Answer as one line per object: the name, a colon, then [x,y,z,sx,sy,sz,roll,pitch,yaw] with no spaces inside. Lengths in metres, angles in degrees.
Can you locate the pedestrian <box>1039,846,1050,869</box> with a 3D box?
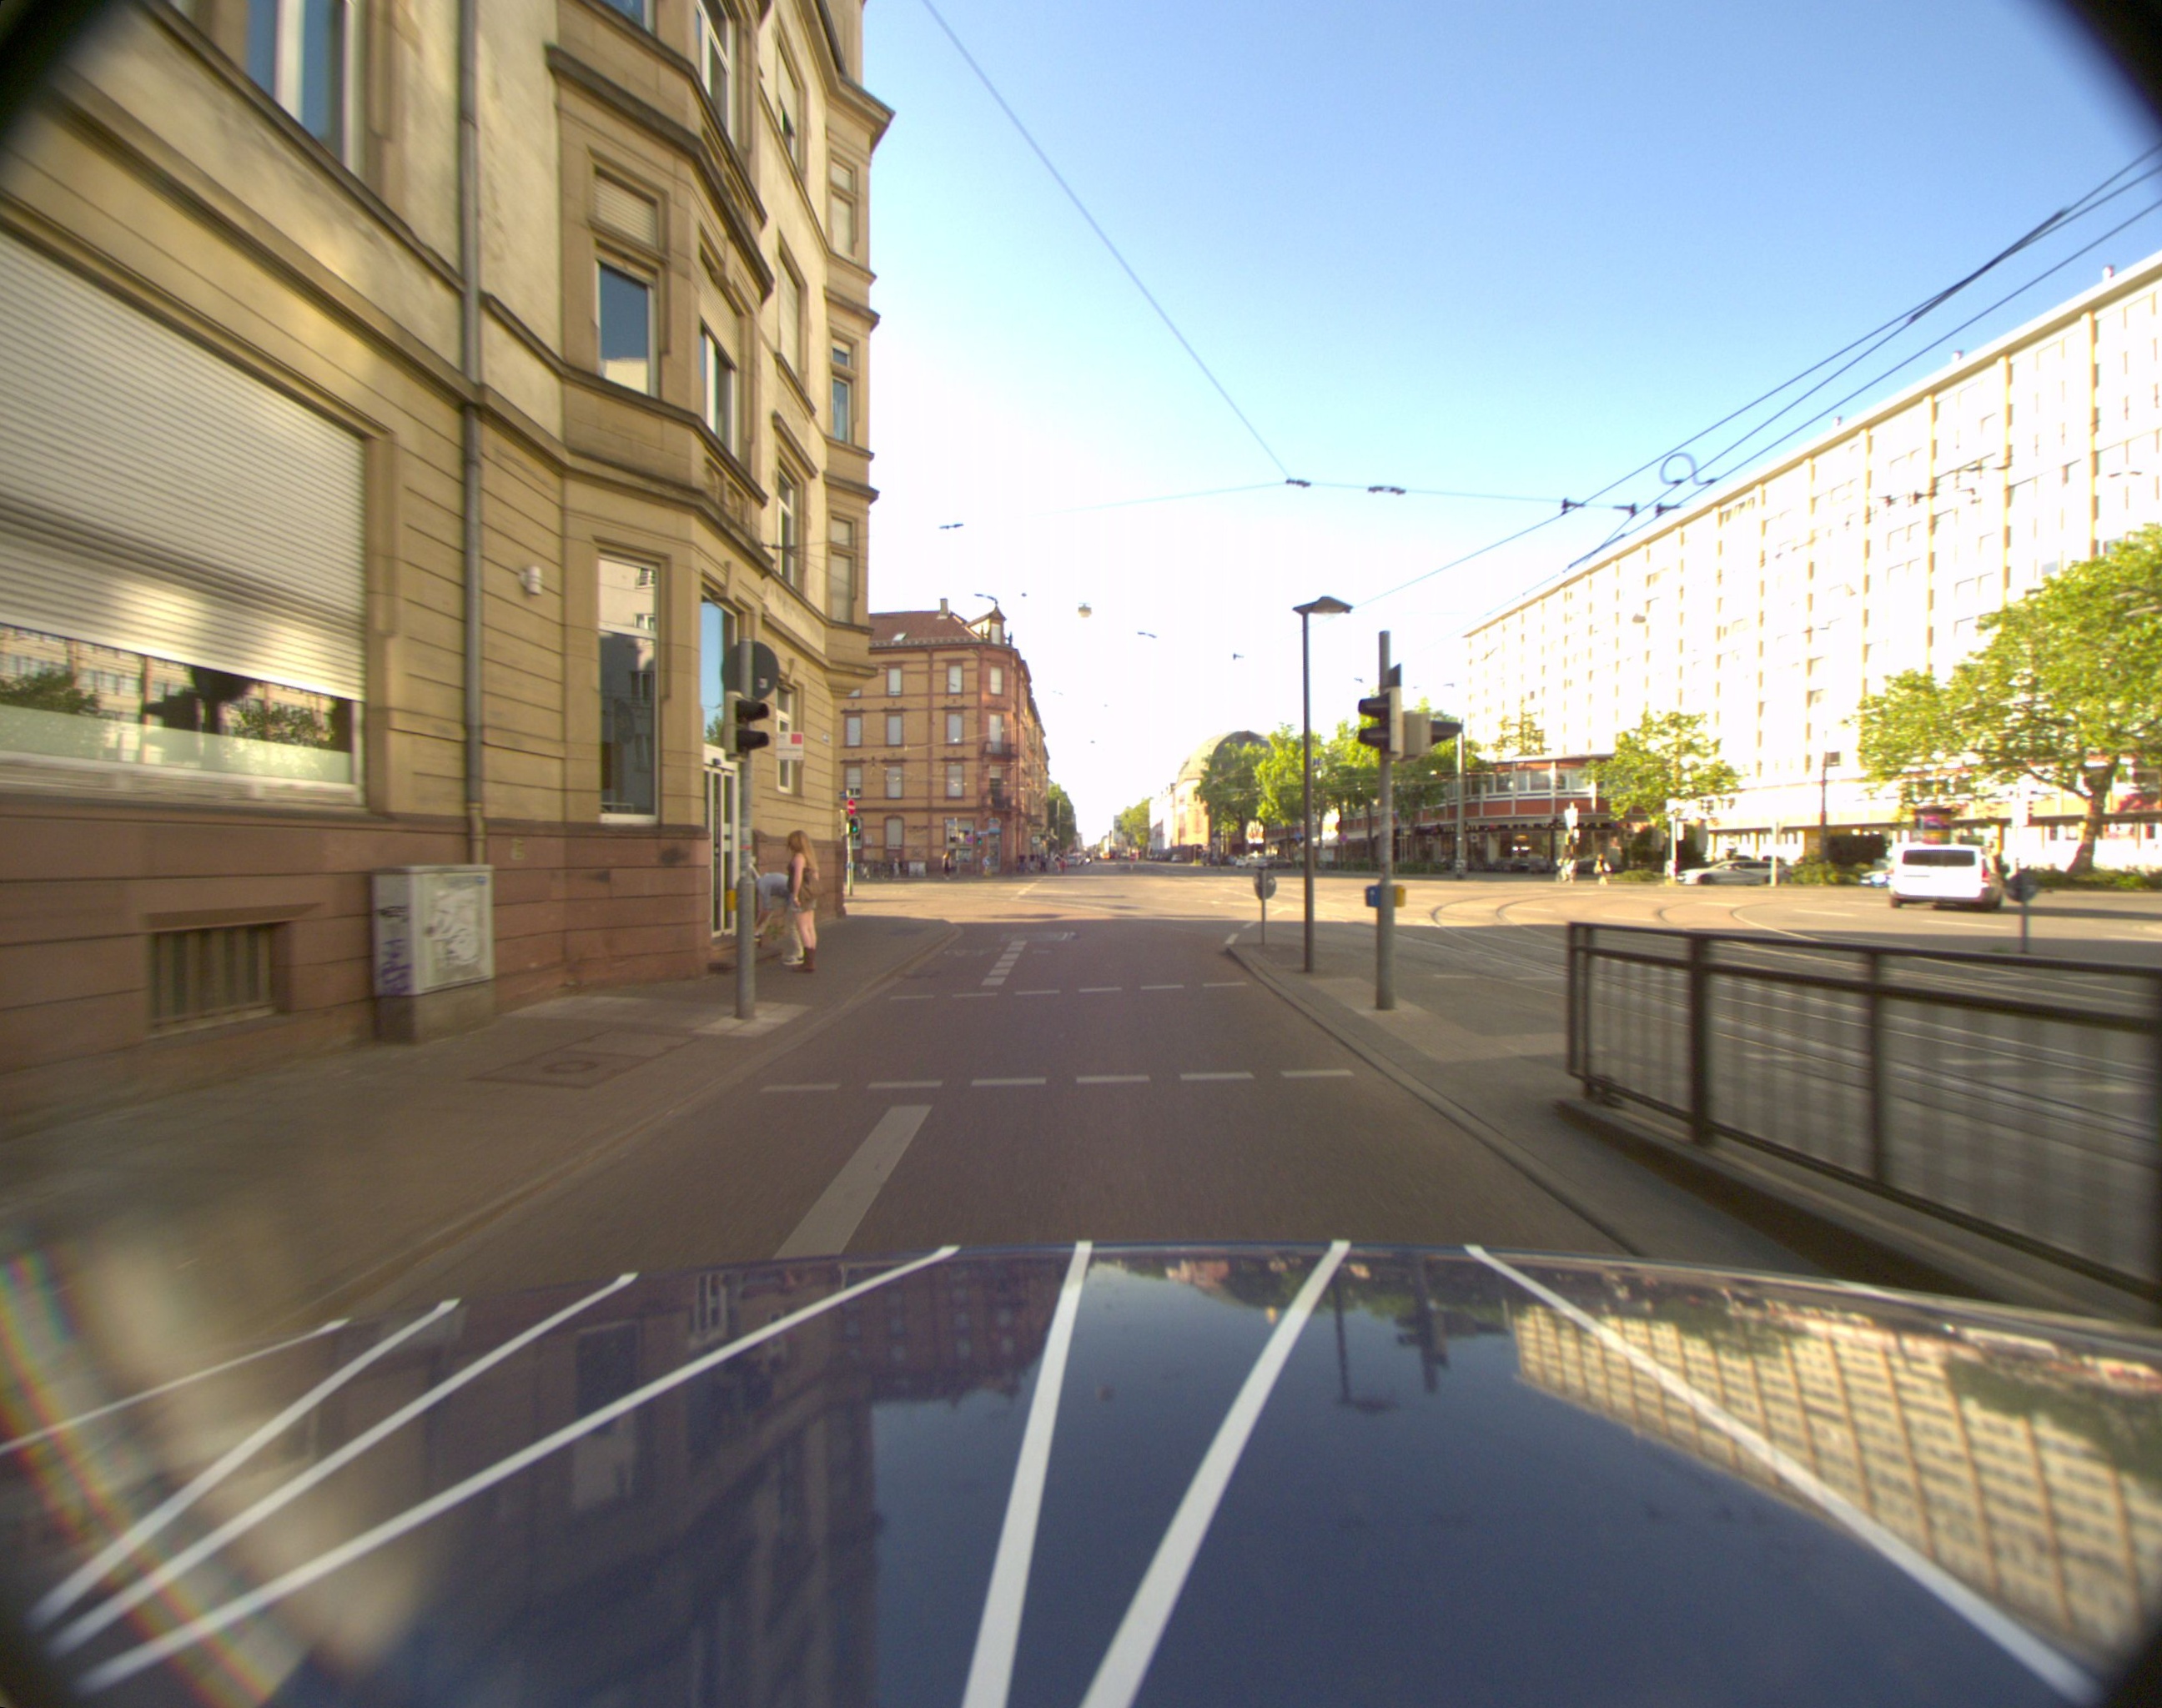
pedestrian: [-2.998,0.316,62.369,0.824,1.884,0.754,0,1,1]

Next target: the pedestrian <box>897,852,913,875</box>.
pedestrian: [-12.618,0.688,54.474,0.743,1.563,0.763,-2,6,7]

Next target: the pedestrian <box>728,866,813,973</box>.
pedestrian: [-4.034,0.835,9.941,0.796,1.324,0.719,0,3,-1]

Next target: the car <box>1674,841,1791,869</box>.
car: [35.315,0.055,41.354,4.446,1.413,1.893,-1,2,17]

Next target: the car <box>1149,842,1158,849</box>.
car: [19.508,-2.350,204.568,1.965,1.594,3.998,-3,1,-1]

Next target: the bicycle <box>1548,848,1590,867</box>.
bicycle: [25.539,0.179,39.793,0.843,0.922,2.265,-1,1,3]

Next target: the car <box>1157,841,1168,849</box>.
car: [19.221,-2.139,179.032,1.965,1.594,3.998,-3,1,-1]

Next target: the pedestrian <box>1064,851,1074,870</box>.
pedestrian: [-1.024,0.560,65.171,0.849,1.652,0.850,0,1,4]

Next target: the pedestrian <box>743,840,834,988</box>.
pedestrian: [-3.507,0.691,9.170,0.796,1.712,0.719,0,3,-1]

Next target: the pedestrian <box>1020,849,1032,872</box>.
pedestrian: [-4.093,0.469,56.513,0.777,1.713,0.754,0,1,1]

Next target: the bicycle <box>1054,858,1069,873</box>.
bicycle: [-1.400,0.801,53.912,0.885,0.949,1.766,-1,1,4]

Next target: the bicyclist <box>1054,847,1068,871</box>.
bicyclist: [-1.407,0.341,53.909,0.885,1.651,0.803,-1,1,4]

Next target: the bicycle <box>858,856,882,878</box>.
bicycle: [-13.029,0.827,46.896,0.755,1.255,1.970,-1,-3,5]

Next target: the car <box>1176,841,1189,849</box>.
car: [20.247,-1.841,151.863,1.910,1.594,3.998,-3,1,-1]

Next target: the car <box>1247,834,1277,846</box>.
car: [32.558,-2.535,136.706,4.983,2.002,1.999,-1,1,-1]

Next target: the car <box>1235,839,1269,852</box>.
car: [21.421,-1.053,95.020,4.005,1.466,1.793,-3,2,-31]

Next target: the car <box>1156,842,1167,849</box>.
car: [19.635,-2.164,185.414,1.965,1.594,3.998,-3,1,-1]

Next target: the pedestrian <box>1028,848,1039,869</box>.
pedestrian: [-3.911,0.363,62.381,0.777,1.713,0.754,0,1,1]

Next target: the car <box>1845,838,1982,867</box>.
car: [42.940,-0.104,39.321,4.446,1.413,1.893,-1,2,17]

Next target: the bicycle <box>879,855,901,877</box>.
bicycle: [-11.708,0.759,46.580,0.755,1.255,1.836,-1,-3,5]

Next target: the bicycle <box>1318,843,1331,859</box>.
bicycle: [19.212,-0.262,59.869,0.582,1.228,1.857,-3,1,6]

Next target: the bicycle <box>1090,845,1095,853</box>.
bicycle: [1.698,-0.686,110.550,0.646,1.176,1.804,-1,1,-2]

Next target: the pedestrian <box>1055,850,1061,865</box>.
pedestrian: [-2.692,0.454,87.966,0.700,1.713,0.502,0,2,2]

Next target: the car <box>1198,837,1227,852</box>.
car: [19.736,-1.442,113.948,4.006,1.953,1.907,-4,2,-34]

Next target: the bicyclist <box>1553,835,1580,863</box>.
bicyclist: [25.538,-0.264,39.956,0.843,1.459,0.896,-1,1,3]

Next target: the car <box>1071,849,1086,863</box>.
car: [-0.313,0.260,99.804,1.670,1.674,4.000,-2,1,4]

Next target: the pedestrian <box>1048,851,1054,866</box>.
pedestrian: [-3.515,0.492,88.434,0.700,1.713,0.681,0,2,2]

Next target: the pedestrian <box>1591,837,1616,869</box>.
pedestrian: [27.516,-0.055,40.029,0.870,1.672,0.697,0,0,9]

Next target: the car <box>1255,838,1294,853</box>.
car: [21.456,-0.944,84.259,4.005,1.545,1.793,-3,2,-31]

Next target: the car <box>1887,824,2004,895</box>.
car: [25.569,0.098,22.460,5.357,1.827,1.994,-1,3,-40]
